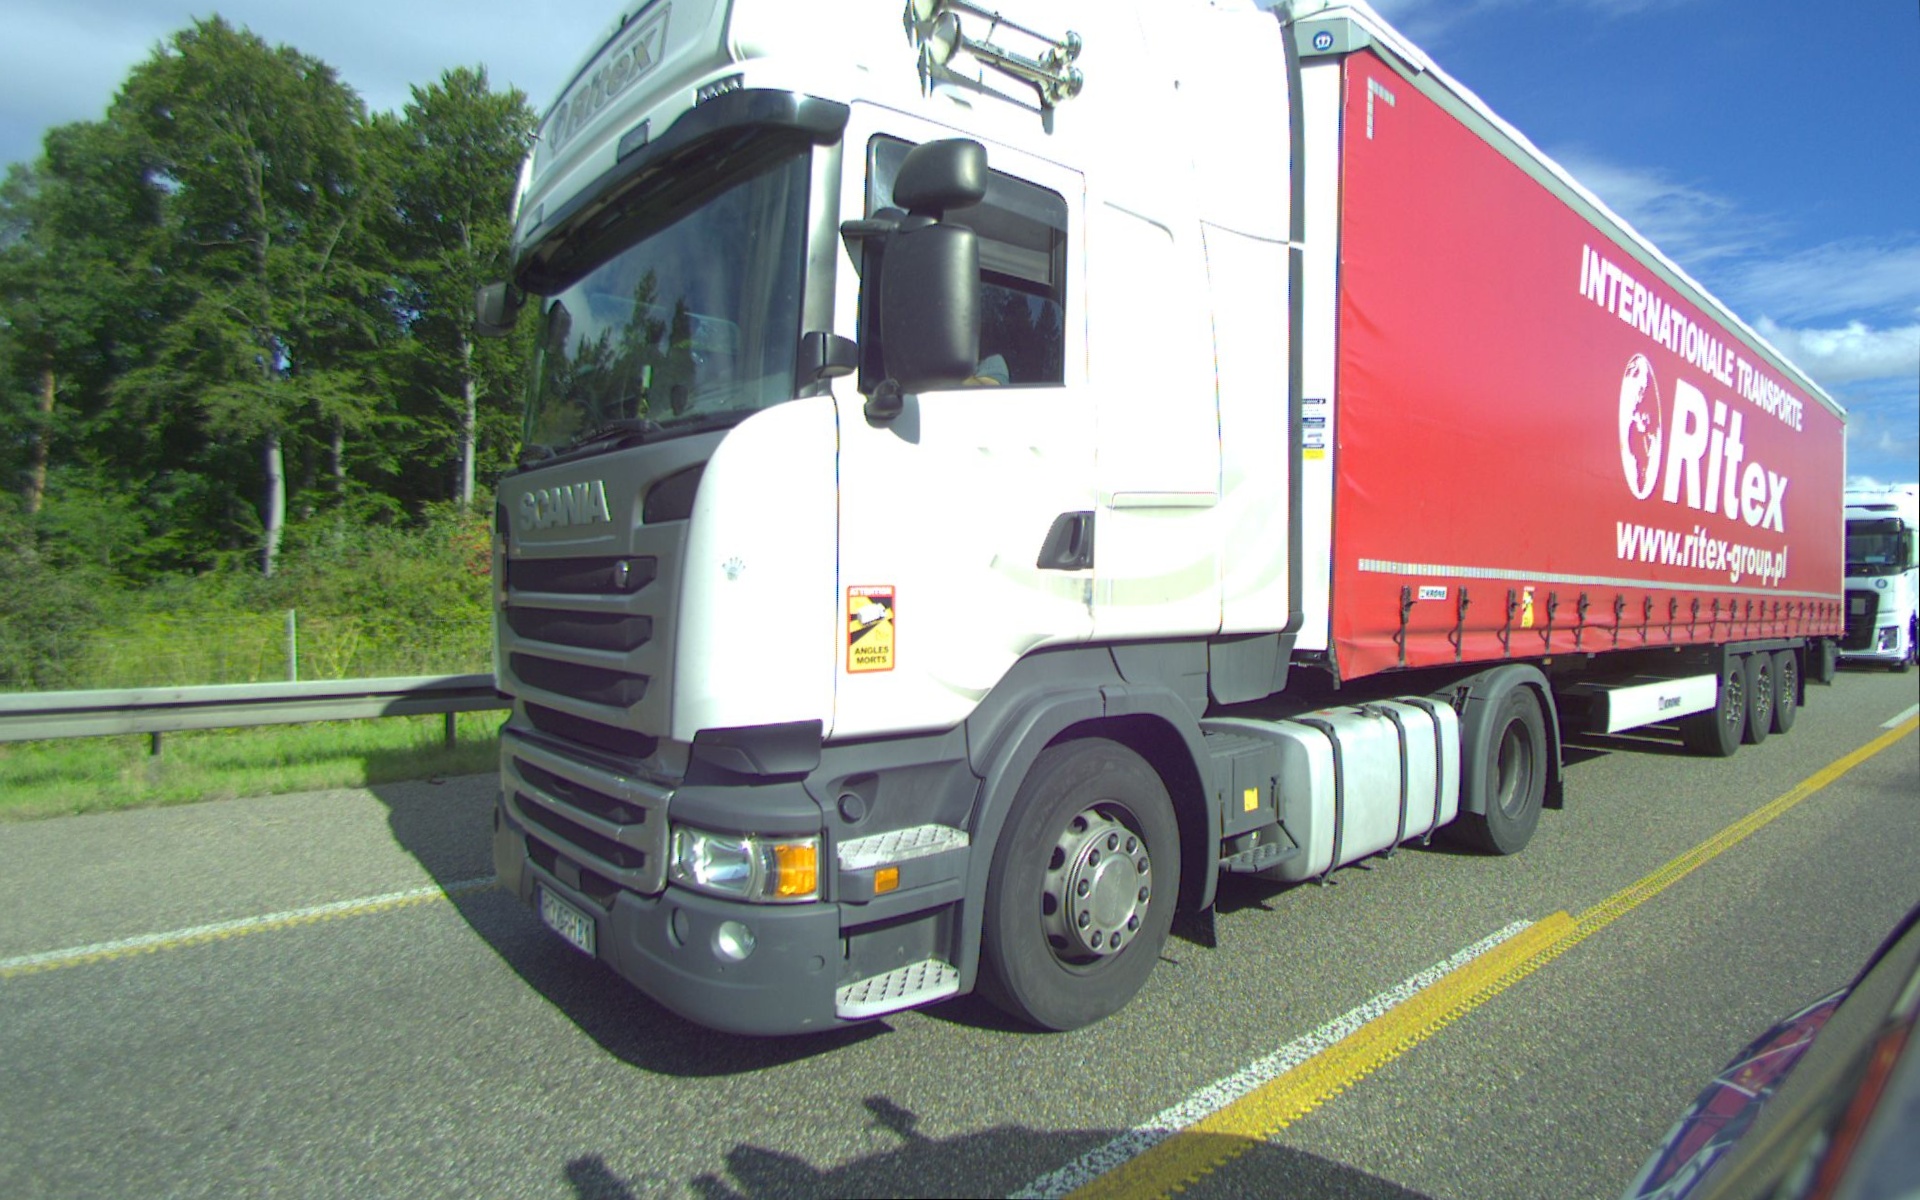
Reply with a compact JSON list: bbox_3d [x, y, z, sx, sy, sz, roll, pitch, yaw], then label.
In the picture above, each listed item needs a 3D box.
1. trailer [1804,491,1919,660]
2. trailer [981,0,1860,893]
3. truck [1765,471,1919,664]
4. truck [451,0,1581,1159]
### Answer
[{"bbox_3d":[25.751,-0.580,27.460,11.922,3.822,2.476,0,0,-41],"label":"trailer"},{"bbox_3d":[5.935,-0.757,9.844,13.185,4.019,2.704,0,0,-42],"label":"trailer"},{"bbox_3d":[20.375,-0.668,22.829,5.689,3.828,2.499,0,0,-41],"label":"truck"},{"bbox_3d":[0.773,-0.729,5.233,5.612,4.010,2.672,0,0,-42],"label":"truck"}]
